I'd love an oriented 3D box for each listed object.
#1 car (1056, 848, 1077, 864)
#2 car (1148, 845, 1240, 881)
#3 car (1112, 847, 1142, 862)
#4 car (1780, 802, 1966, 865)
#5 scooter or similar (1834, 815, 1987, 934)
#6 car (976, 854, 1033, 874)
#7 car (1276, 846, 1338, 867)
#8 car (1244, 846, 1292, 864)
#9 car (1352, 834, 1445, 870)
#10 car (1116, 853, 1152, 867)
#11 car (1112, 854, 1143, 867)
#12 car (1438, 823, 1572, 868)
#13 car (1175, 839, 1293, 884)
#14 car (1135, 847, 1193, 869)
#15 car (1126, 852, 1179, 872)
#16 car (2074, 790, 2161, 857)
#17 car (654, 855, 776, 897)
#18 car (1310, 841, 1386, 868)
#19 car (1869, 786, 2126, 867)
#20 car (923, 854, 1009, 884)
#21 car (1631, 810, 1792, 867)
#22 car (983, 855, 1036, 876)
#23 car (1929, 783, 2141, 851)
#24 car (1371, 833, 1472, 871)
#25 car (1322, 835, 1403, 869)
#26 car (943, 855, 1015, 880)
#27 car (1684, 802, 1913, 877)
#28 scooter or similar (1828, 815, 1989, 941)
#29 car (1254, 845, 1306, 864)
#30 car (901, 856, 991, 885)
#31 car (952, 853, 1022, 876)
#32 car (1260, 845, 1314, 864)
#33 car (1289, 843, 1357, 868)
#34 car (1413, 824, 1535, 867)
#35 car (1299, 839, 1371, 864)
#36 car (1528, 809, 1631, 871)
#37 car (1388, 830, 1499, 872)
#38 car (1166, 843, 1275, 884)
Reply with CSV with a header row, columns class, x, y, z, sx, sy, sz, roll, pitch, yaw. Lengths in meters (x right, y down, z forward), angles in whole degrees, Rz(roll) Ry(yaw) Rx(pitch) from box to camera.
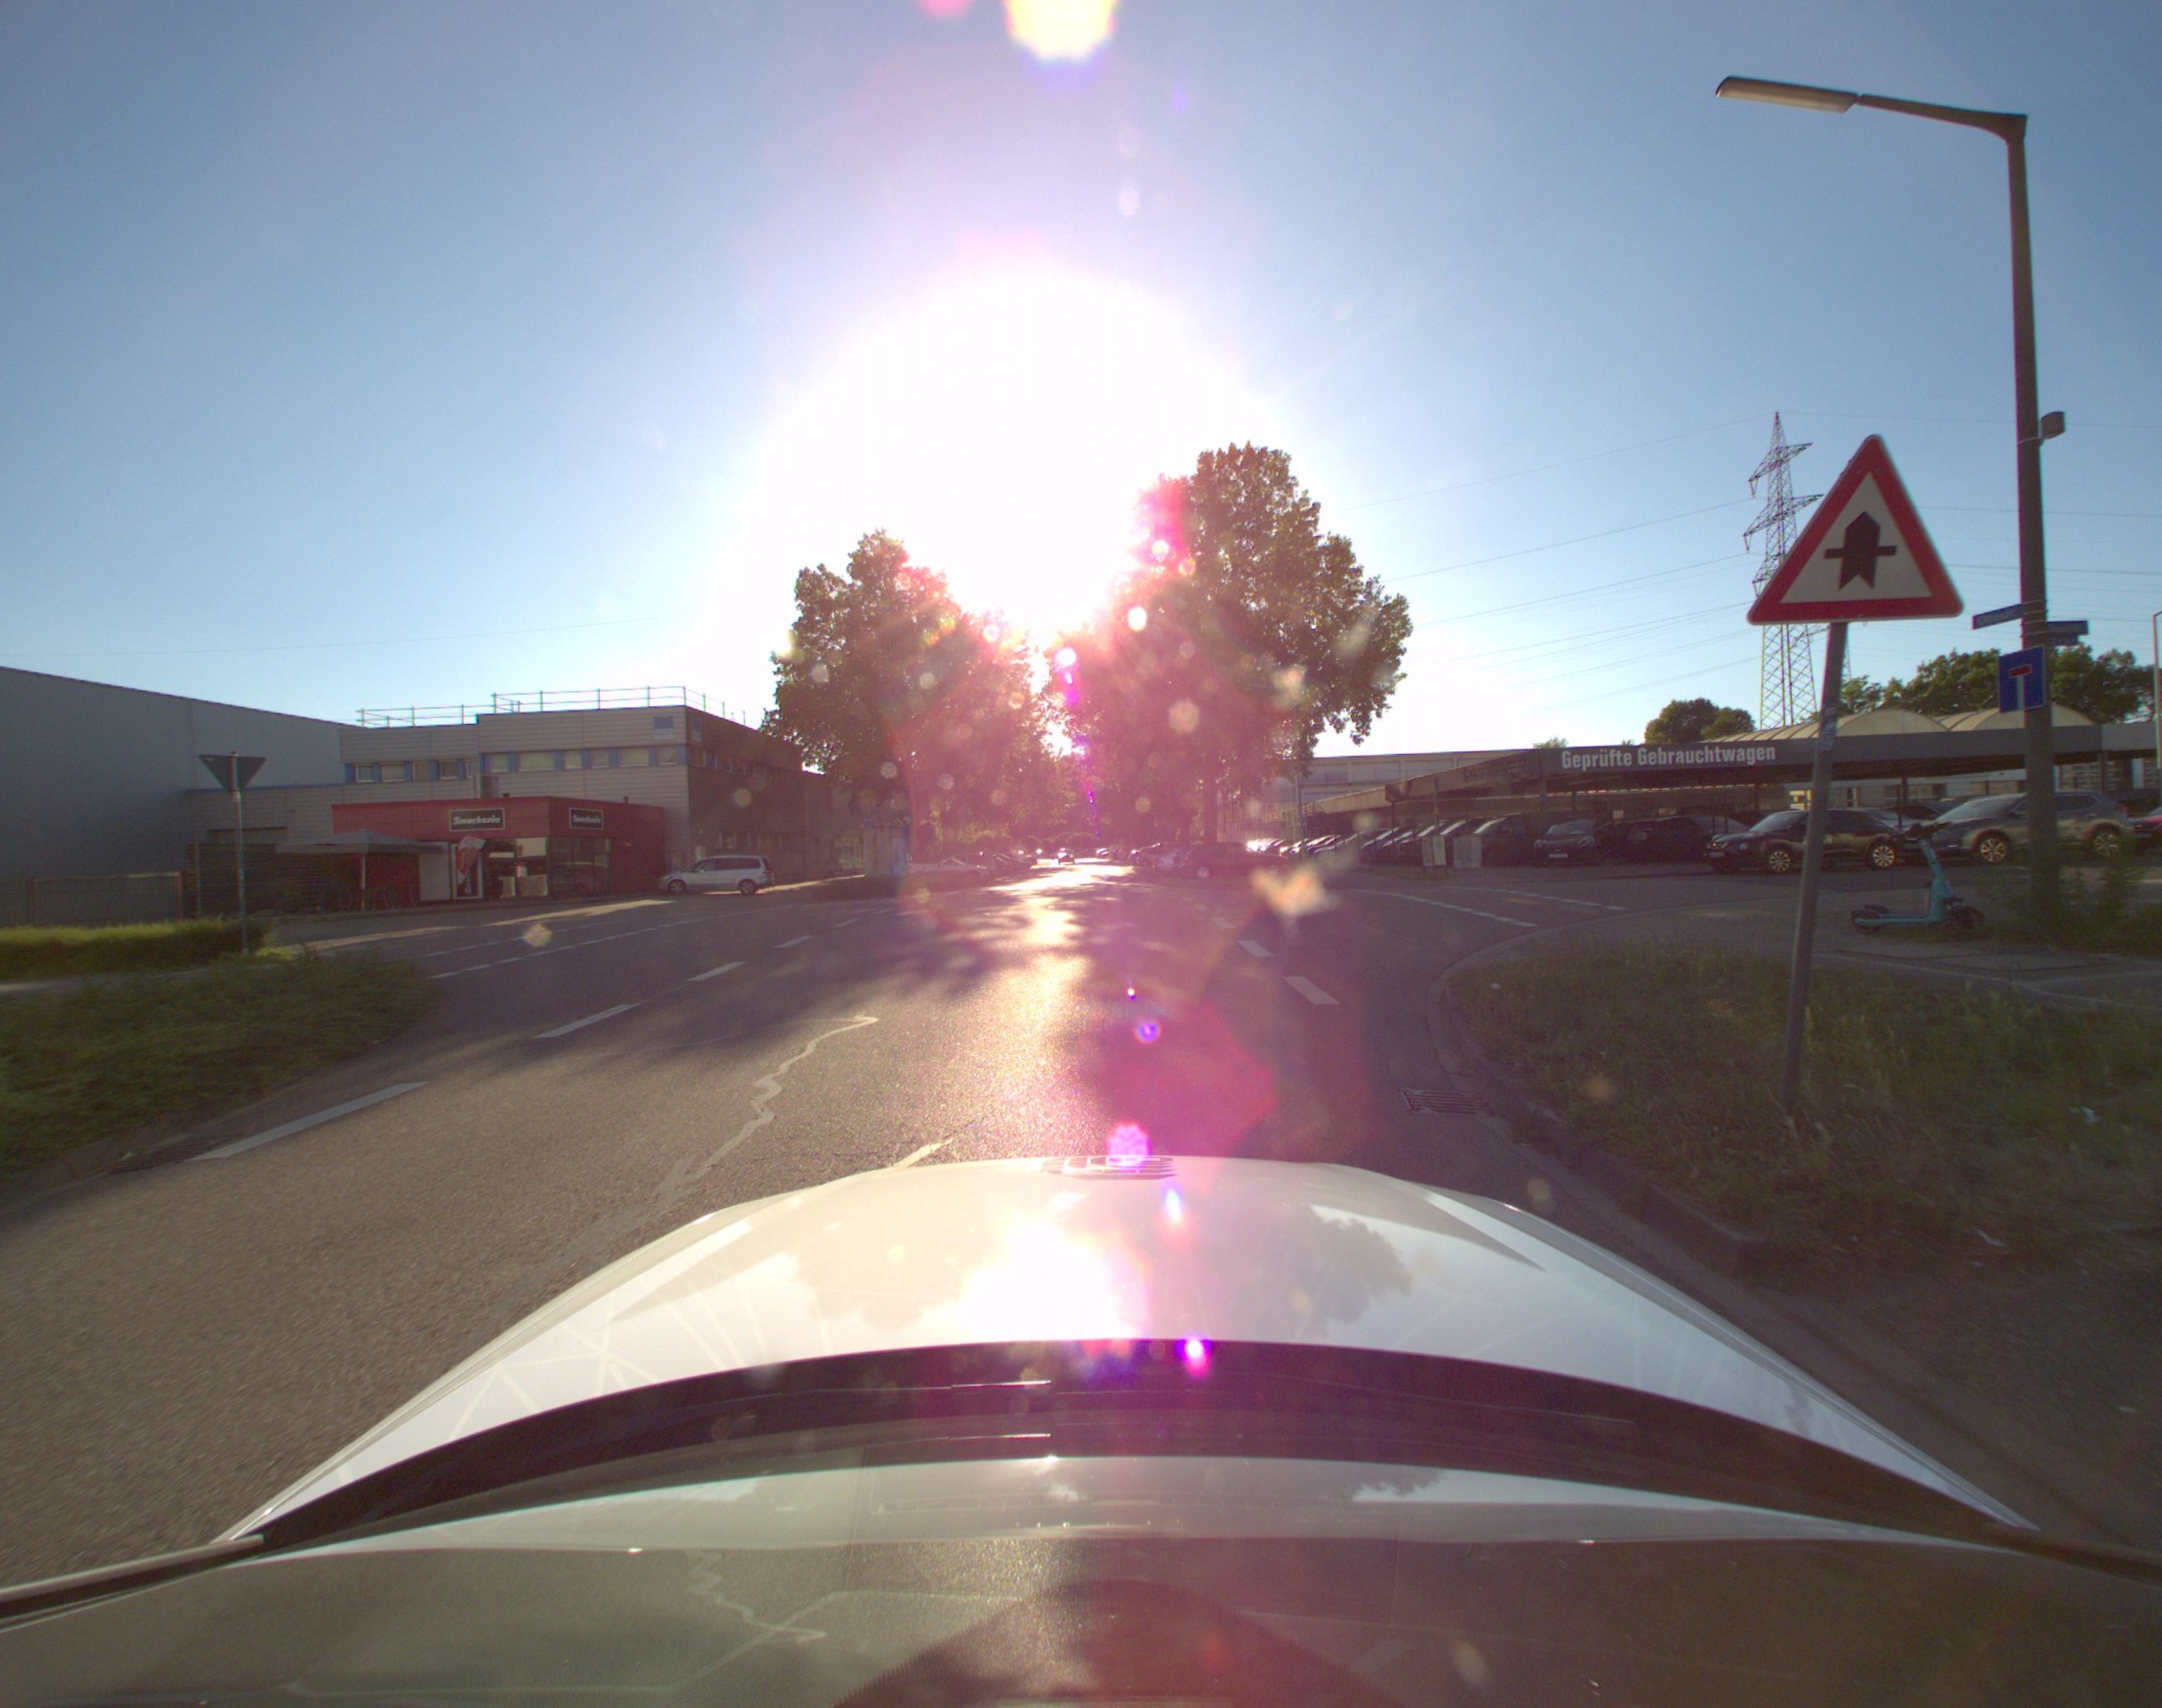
class,x,y,z,sx,sy,sz,roll,pitch,yaw
car,-1.475,0.226,85.305,1.986,1.608,4.001,0,0,1
car,5.140,0.401,37.488,3.973,1.416,1.827,-3,-1,1
car,6.147,0.044,109.009,3.973,1.777,1.827,-3,-1,1
car,25.141,-0.569,26.097,1.987,1.734,3.999,-2,-2,0
scooter or similar,9.673,0.229,9.558,0.441,1.298,1.294,-1,-1,-1
car,-6.207,0.798,66.321,4.398,1.517,2.001,-1,-1,2
car,16.650,0.179,60.120,3.974,1.504,2.000,-1,-1,0
car,17.154,0.067,74.951,3.974,1.546,2.000,-1,-1,0
car,16.185,-0.086,41.679,3.974,1.700,2.000,-1,-1,0
car,6.019,0.653,92.968,3.973,1.416,1.827,-3,-1,1
car,6.001,0.835,105.720,3.973,1.416,1.827,-3,-1,1
car,15.817,-0.299,30.529,3.974,1.568,2.000,-1,-1,0
car,5.578,0.265,30.141,3.973,1.416,2.000,-3,-1,1
car,5.926,0.281,58.368,3.973,1.416,1.827,-3,-1,1
car,5.624,0.653,64.348,3.973,1.381,1.827,-3,-1,1
car,28.015,-0.809,20.345,3.976,1.550,1.998,-2,-3,-2
car,-16.135,0.949,36.175,4.637,1.741,1.990,-1,-1,-15
car,16.184,0.049,49.486,3.974,1.546,2.000,-1,-1,0
car,22.567,-0.643,20.183,4.097,1.704,1.998,-2,-3,-2
car,-6.303,0.828,44.971,4.402,1.517,1.999,-1,-1,-1
car,19.982,-0.430,26.061,1.987,1.602,3.999,-2,-1,0
car,-6.242,1.018,71.461,4.398,1.697,2.001,-1,-1,2
car,30.190,-1.105,25.992,1.987,1.734,3.998,-2,-3,0
car,16.217,-0.107,38.893,3.974,1.700,2.000,-1,-1,0
car,16.168,-0.113,46.934,3.974,1.832,2.000,-1,-1,0
car,-6.478,0.840,52.115,4.404,1.517,1.998,-1,-1,-3
car,17.943,-0.327,20.527,3.976,1.605,1.998,-2,-3,-2
scooter or similar,9.170,0.257,9.083,0.441,1.298,1.294,-1,-1,-1
car,17.063,0.032,70.077,3.974,1.546,2.000,-1,-1,0
car,-6.980,0.869,42.509,4.407,1.403,1.997,-1,-1,-4
car,-6.316,0.703,55.249,4.398,1.517,2.001,-1,-1,2
car,17.021,0.056,67.511,3.974,1.546,2.000,-1,-1,0
car,16.204,0.096,54.652,3.974,1.546,2.000,-1,-1,0
car,15.897,-0.317,33.075,3.974,1.634,2.000,-1,-1,0
car,16.149,-0.150,51.925,3.974,1.546,2.000,-1,-1,0
car,16.258,-0.402,26.496,1.915,1.770,4.023,-5,-4,44
car,15.798,-0.124,35.648,3.974,1.700,2.000,-1,-1,0
car,5.500,0.376,32.430,3.973,1.416,2.000,-3,-1,1
